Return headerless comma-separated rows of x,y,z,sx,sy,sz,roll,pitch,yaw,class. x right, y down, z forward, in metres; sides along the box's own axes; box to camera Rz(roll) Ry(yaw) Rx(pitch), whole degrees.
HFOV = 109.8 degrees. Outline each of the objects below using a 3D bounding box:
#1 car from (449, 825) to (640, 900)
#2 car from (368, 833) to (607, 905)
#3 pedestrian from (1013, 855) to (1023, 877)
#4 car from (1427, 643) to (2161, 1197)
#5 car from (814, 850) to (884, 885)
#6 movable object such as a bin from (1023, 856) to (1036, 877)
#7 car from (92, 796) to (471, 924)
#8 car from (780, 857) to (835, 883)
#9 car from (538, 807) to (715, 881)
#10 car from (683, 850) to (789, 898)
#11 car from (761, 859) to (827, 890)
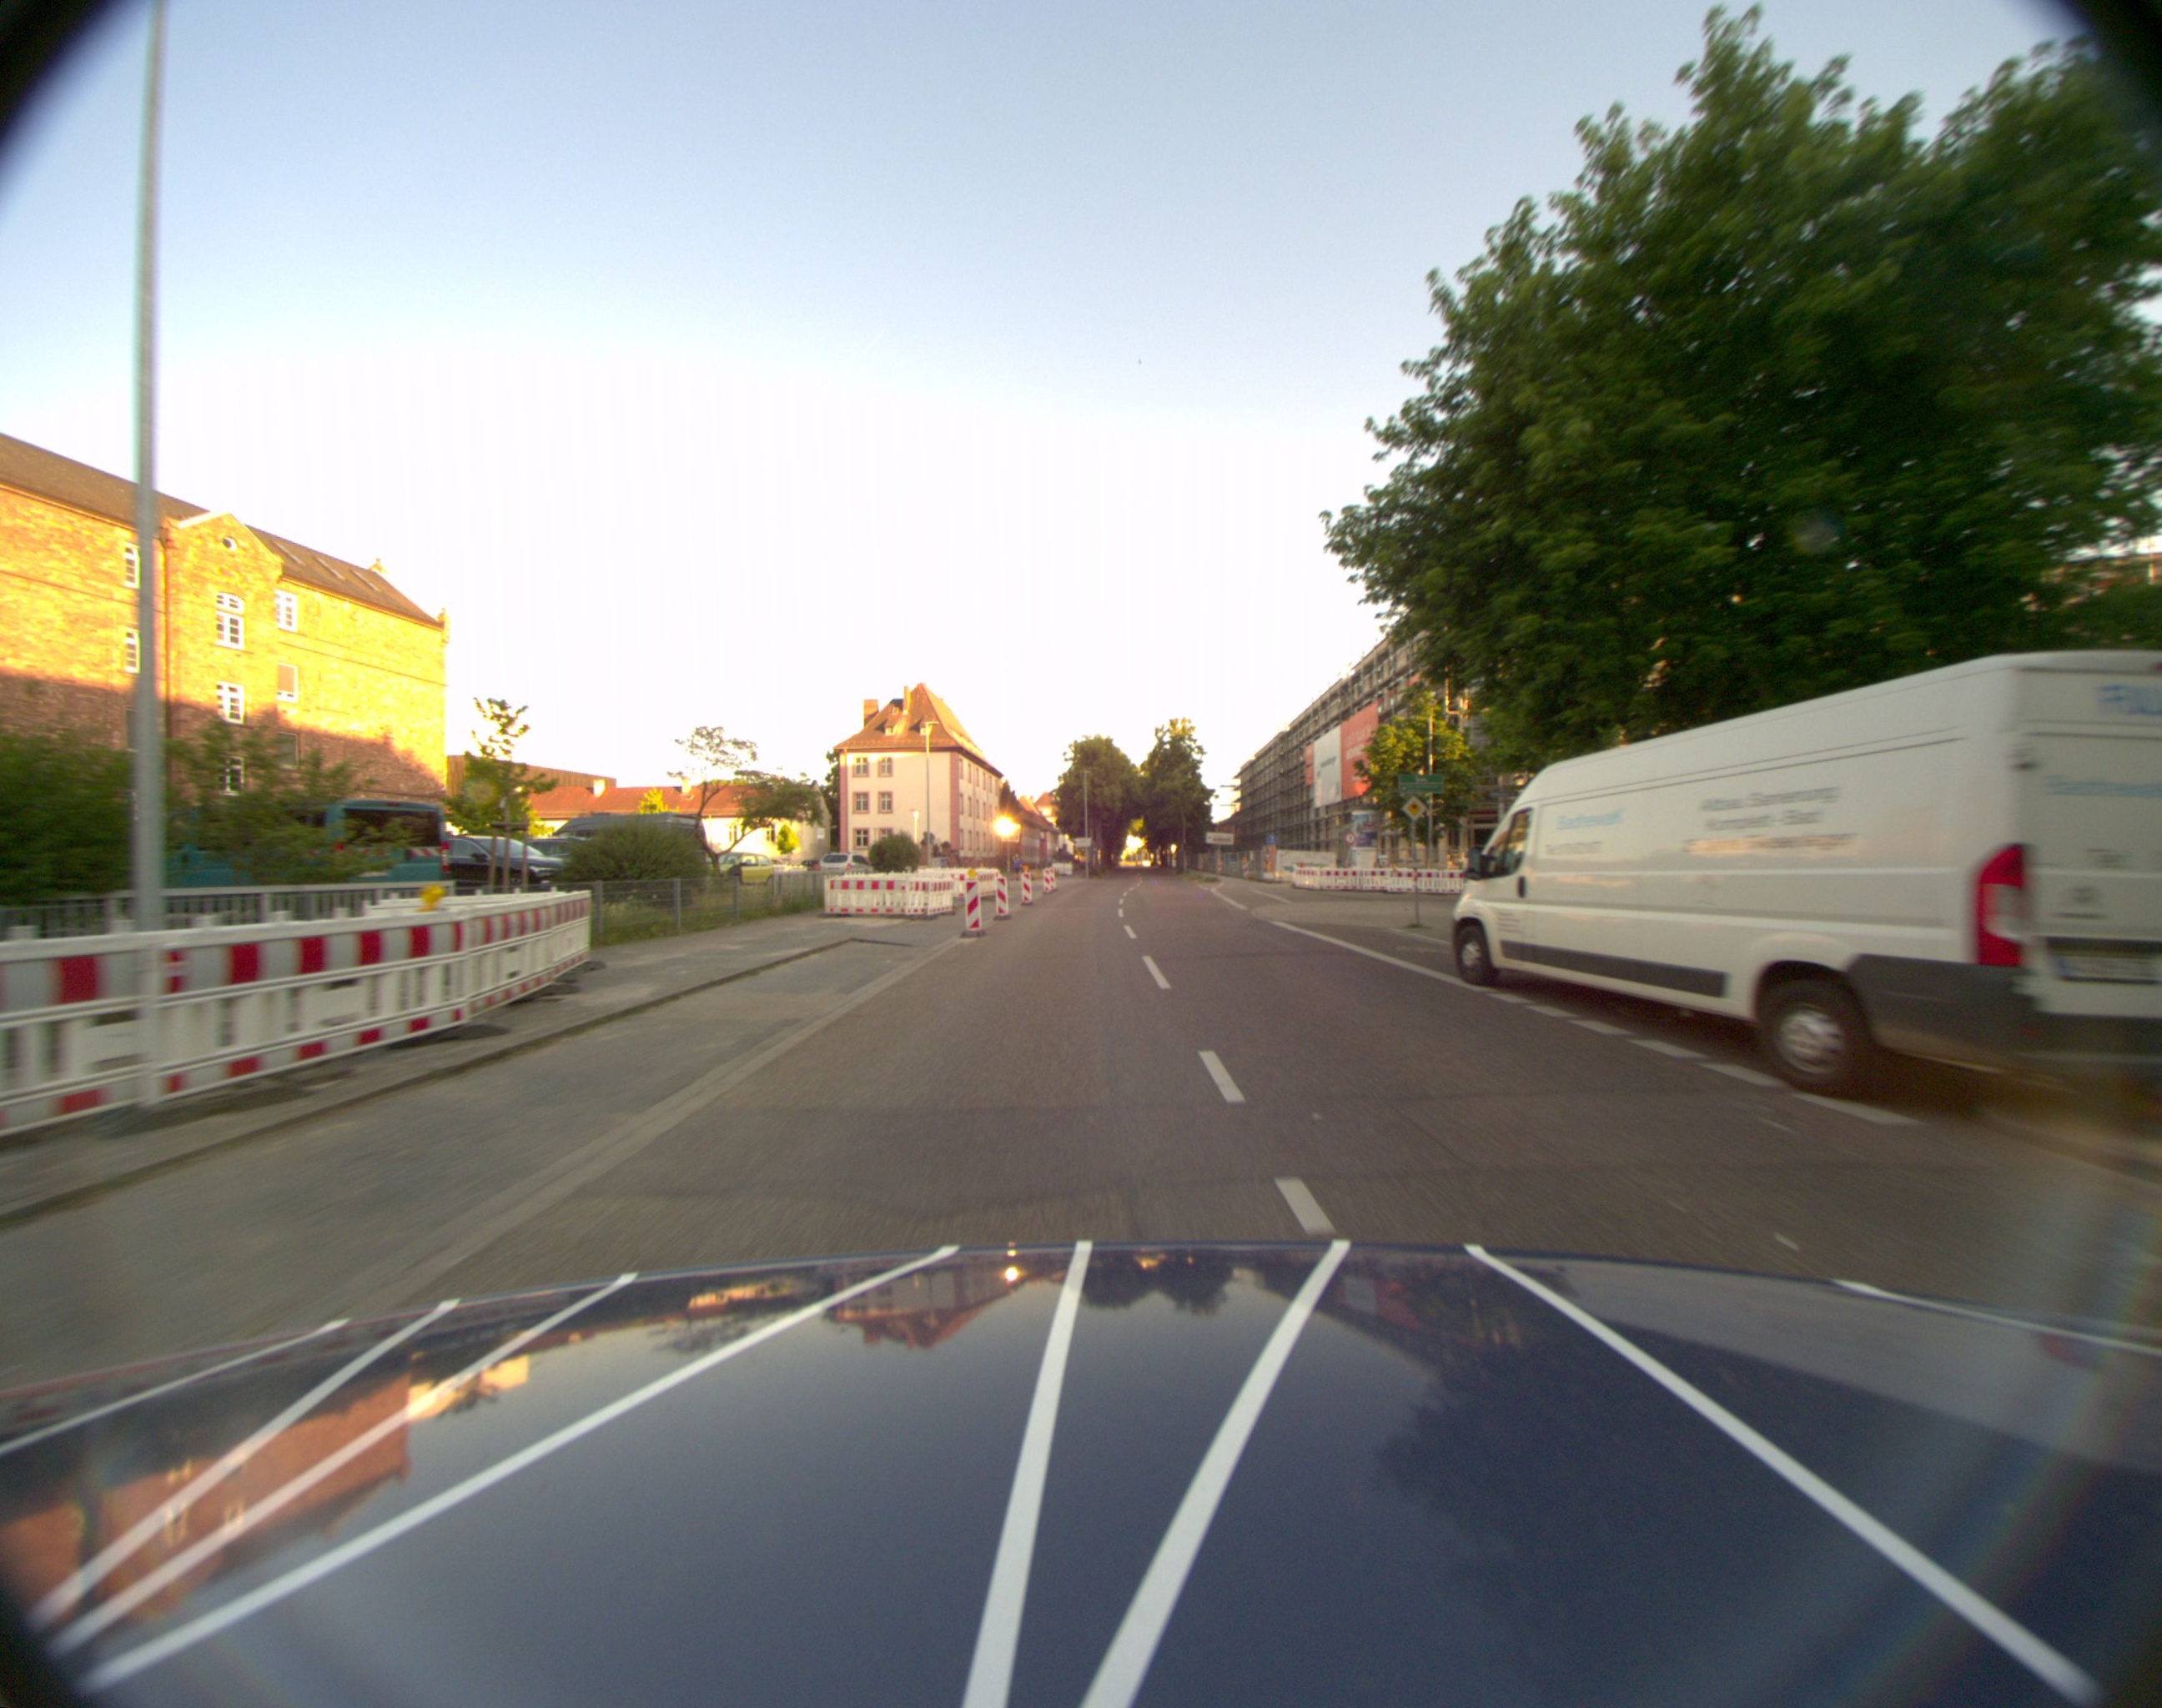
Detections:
-14.870,0.228,21.221,3.995,2.002,2.001,0,0,5,car
-14.596,0.367,18.855,4.433,1.639,2.001,-1,0,4,car
-4.684,0.915,56.418,0.716,1.600,0.518,-1,0,-5,pedestrian
5.453,0.342,6.433,2.184,2.447,6.103,2,0,0,car
-11.528,0.642,38.144,1.919,1.620,4.808,-1,0,1,car
-3.852,0.933,56.738,0.978,1.600,0.634,-1,0,-5,movable object such as a bin
-14.650,0.130,14.115,5.030,2.117,2.291,-1,0,8,car
-19.266,1.091,53.667,1.997,1.692,4.003,-1,0,8,car
-14.325,-0.283,24.118,4.433,2.184,2.001,-1,0,4,car
-12.635,0.688,28.138,1.700,1.639,4.138,-1,0,6,car
-15.499,1.083,41.295,2.016,1.591,4.000,-1,0,1,car
